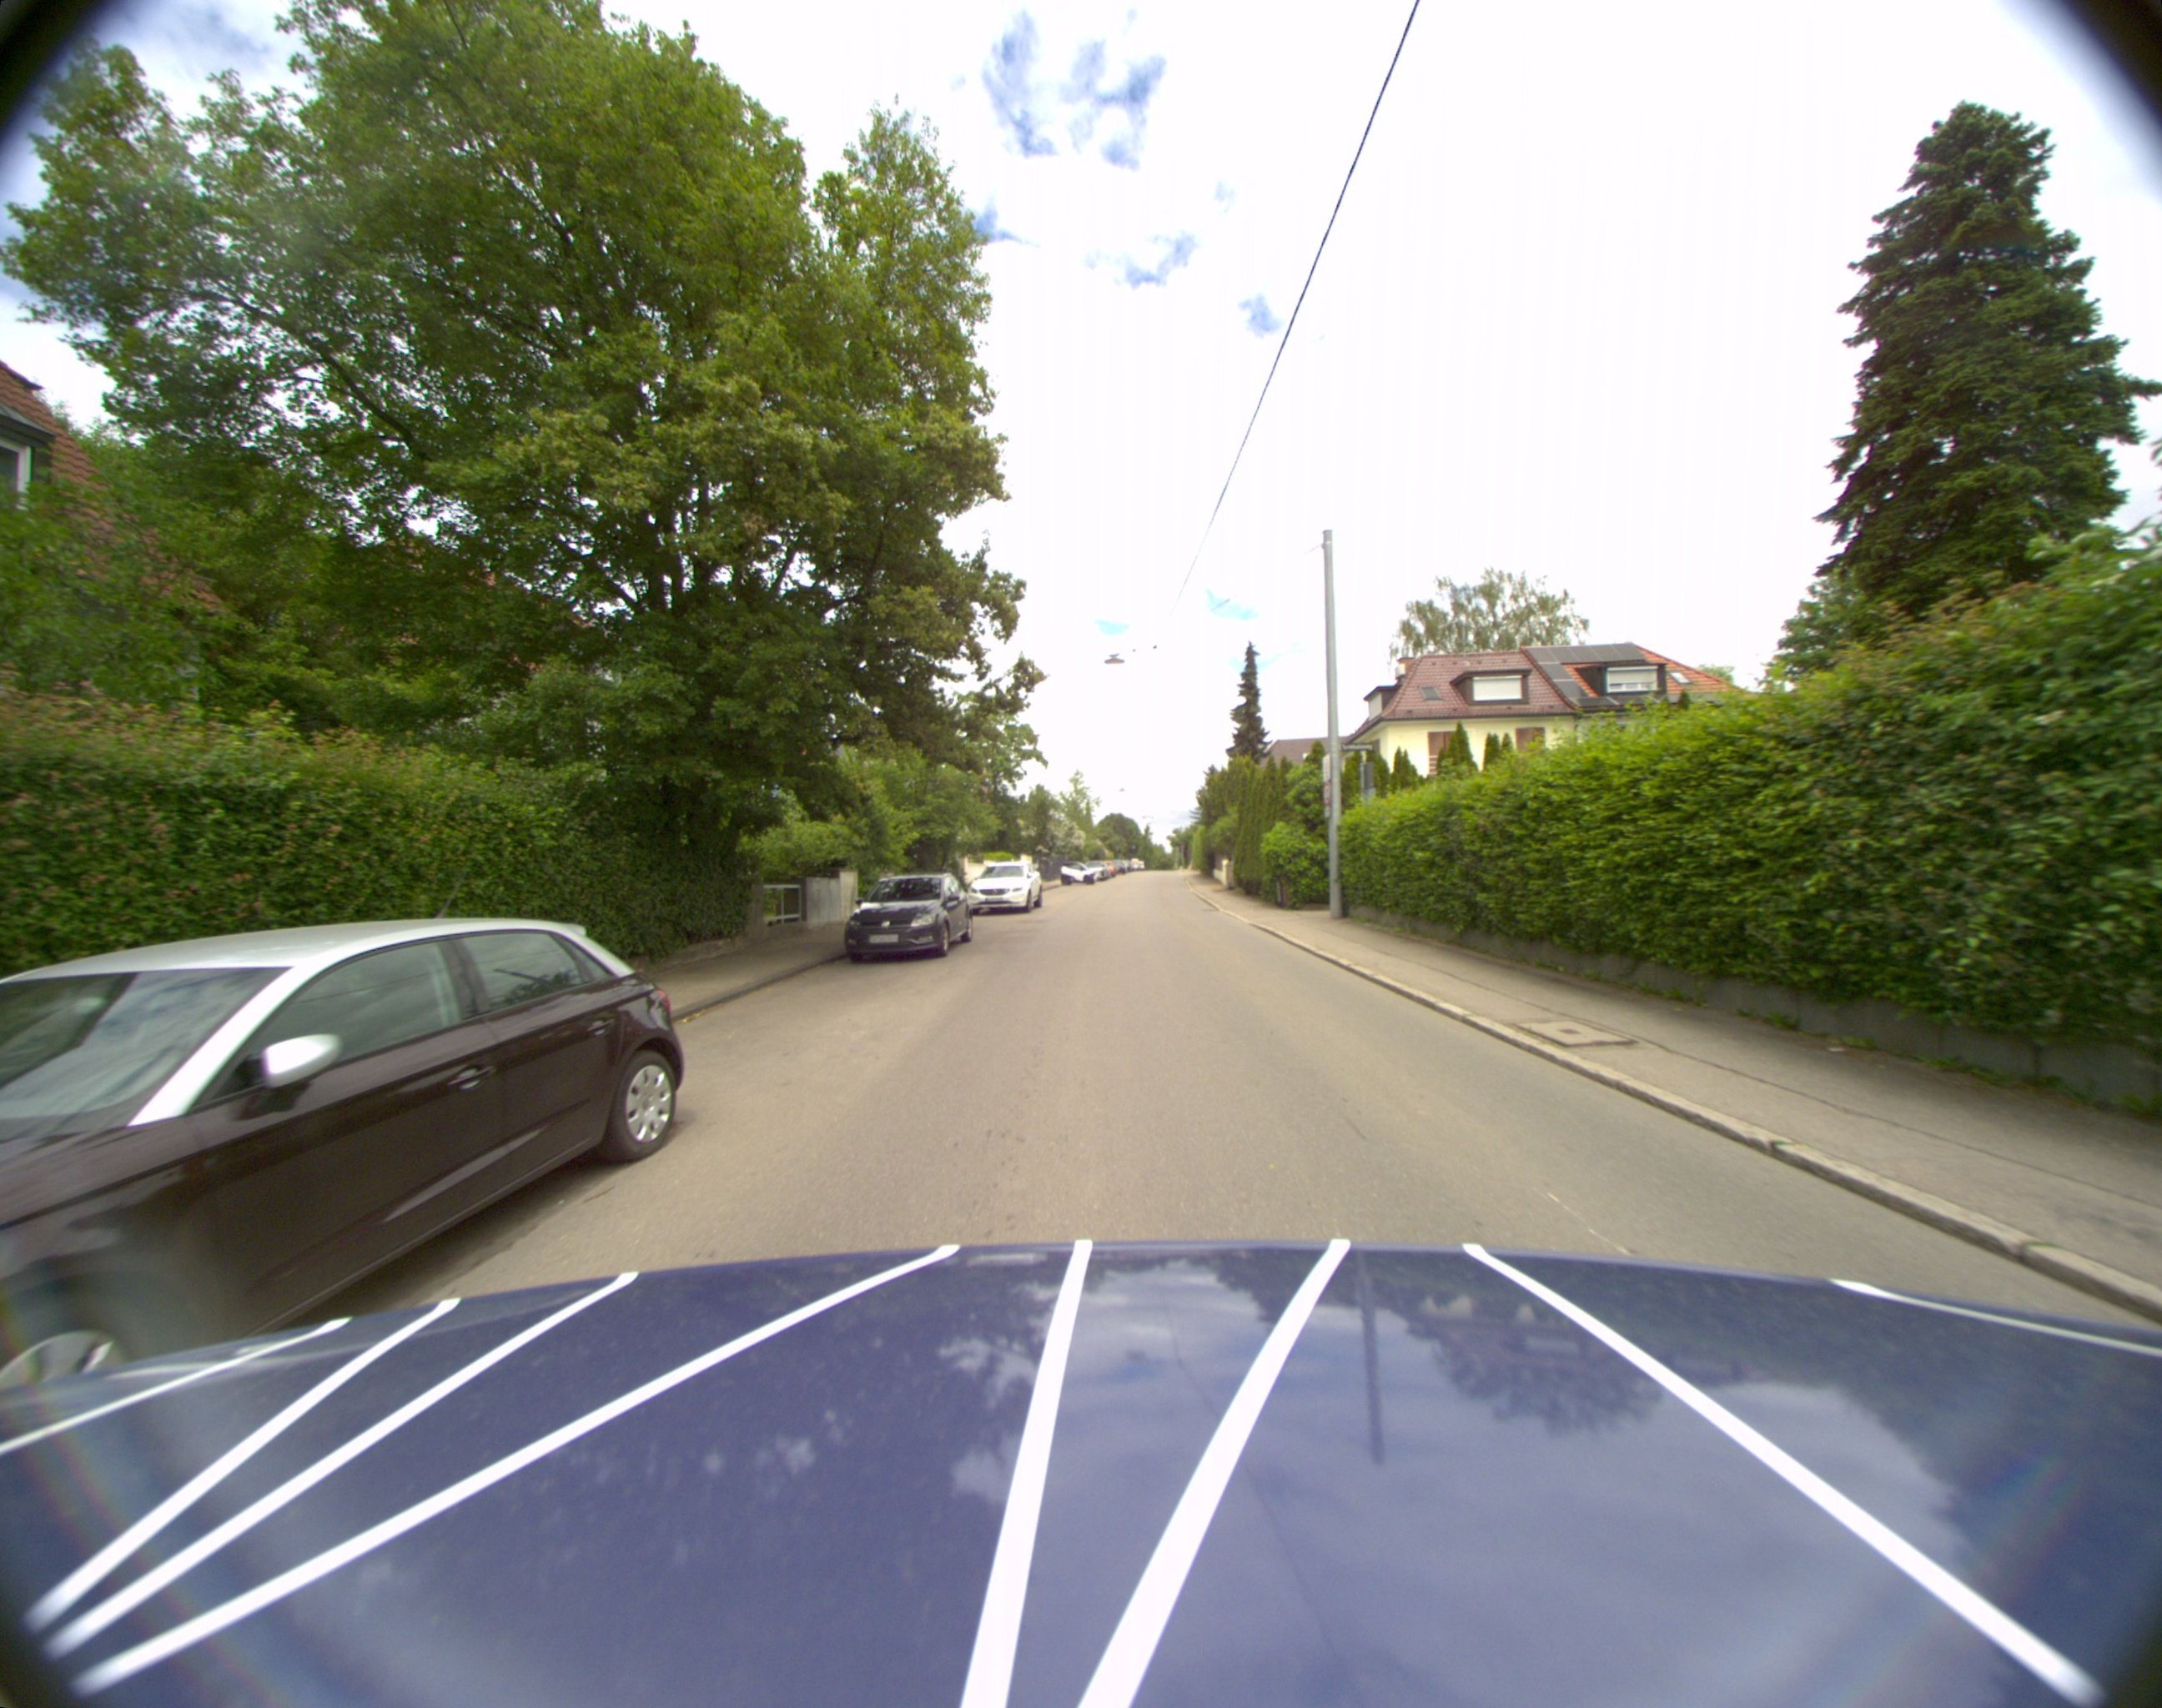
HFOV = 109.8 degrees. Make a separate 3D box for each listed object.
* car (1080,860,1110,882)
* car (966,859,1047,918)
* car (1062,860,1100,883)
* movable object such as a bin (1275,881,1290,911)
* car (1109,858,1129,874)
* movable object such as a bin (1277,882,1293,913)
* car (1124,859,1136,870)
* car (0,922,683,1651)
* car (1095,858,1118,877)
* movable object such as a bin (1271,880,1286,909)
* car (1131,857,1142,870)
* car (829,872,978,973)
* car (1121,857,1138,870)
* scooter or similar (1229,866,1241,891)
[{"bbox_3d":[1.164,1.309,60.390,1.833,1.614,4.494,-2,0,7],"label":"car"},{"bbox_3d":[-2.342,1.056,25.018,1.869,1.675,4.352,-2,0,4],"label":"car"},{"bbox_3d":[-0.011,1.162,51.271,2.291,1.515,1.319,-1,0,11],"label":"car"},{"bbox_3d":[6.159,1.275,23.233,0.337,0.888,0.476,-3,0,7],"label":"movable object such as a bin"},{"bbox_3d":[4.312,1.325,85.496,1.954,1.617,4.378,-3,0,5],"label":"car"},{"bbox_3d":[6.094,1.287,22.699,0.337,0.888,0.476,-3,0,7],"label":"movable object such as a bin"},{"bbox_3d":[7.166,1.526,110.959,1.720,1.451,4.143,-2,-1,4],"label":"car"},{"bbox_3d":[-3.314,1.144,2.679,1.714,1.404,3.790,-3,0,1],"label":"car"},{"bbox_3d":[2.444,1.262,72.178,1.854,1.617,4.171,-3,0,6],"label":"car"},{"bbox_3d":[6.201,1.270,23.871,0.337,0.888,0.476,-3,0,7],"label":"movable object such as a bin"},{"bbox_3d":[10.639,1.839,144.721,1.853,2.210,5.371,-3,-1,5],"label":"car"},{"bbox_3d":[-3.081,1.134,13.982,1.714,1.479,3.791,-2,0,2],"label":"car"},{"bbox_3d":[6.200,1.200,96.598,1.804,1.582,4.144,-2,0,8],"label":"car"},{"bbox_3d":[7.405,1.183,36.549,0.392,1.164,1.271,-2,0,5],"label":"scooter or similar"}]
